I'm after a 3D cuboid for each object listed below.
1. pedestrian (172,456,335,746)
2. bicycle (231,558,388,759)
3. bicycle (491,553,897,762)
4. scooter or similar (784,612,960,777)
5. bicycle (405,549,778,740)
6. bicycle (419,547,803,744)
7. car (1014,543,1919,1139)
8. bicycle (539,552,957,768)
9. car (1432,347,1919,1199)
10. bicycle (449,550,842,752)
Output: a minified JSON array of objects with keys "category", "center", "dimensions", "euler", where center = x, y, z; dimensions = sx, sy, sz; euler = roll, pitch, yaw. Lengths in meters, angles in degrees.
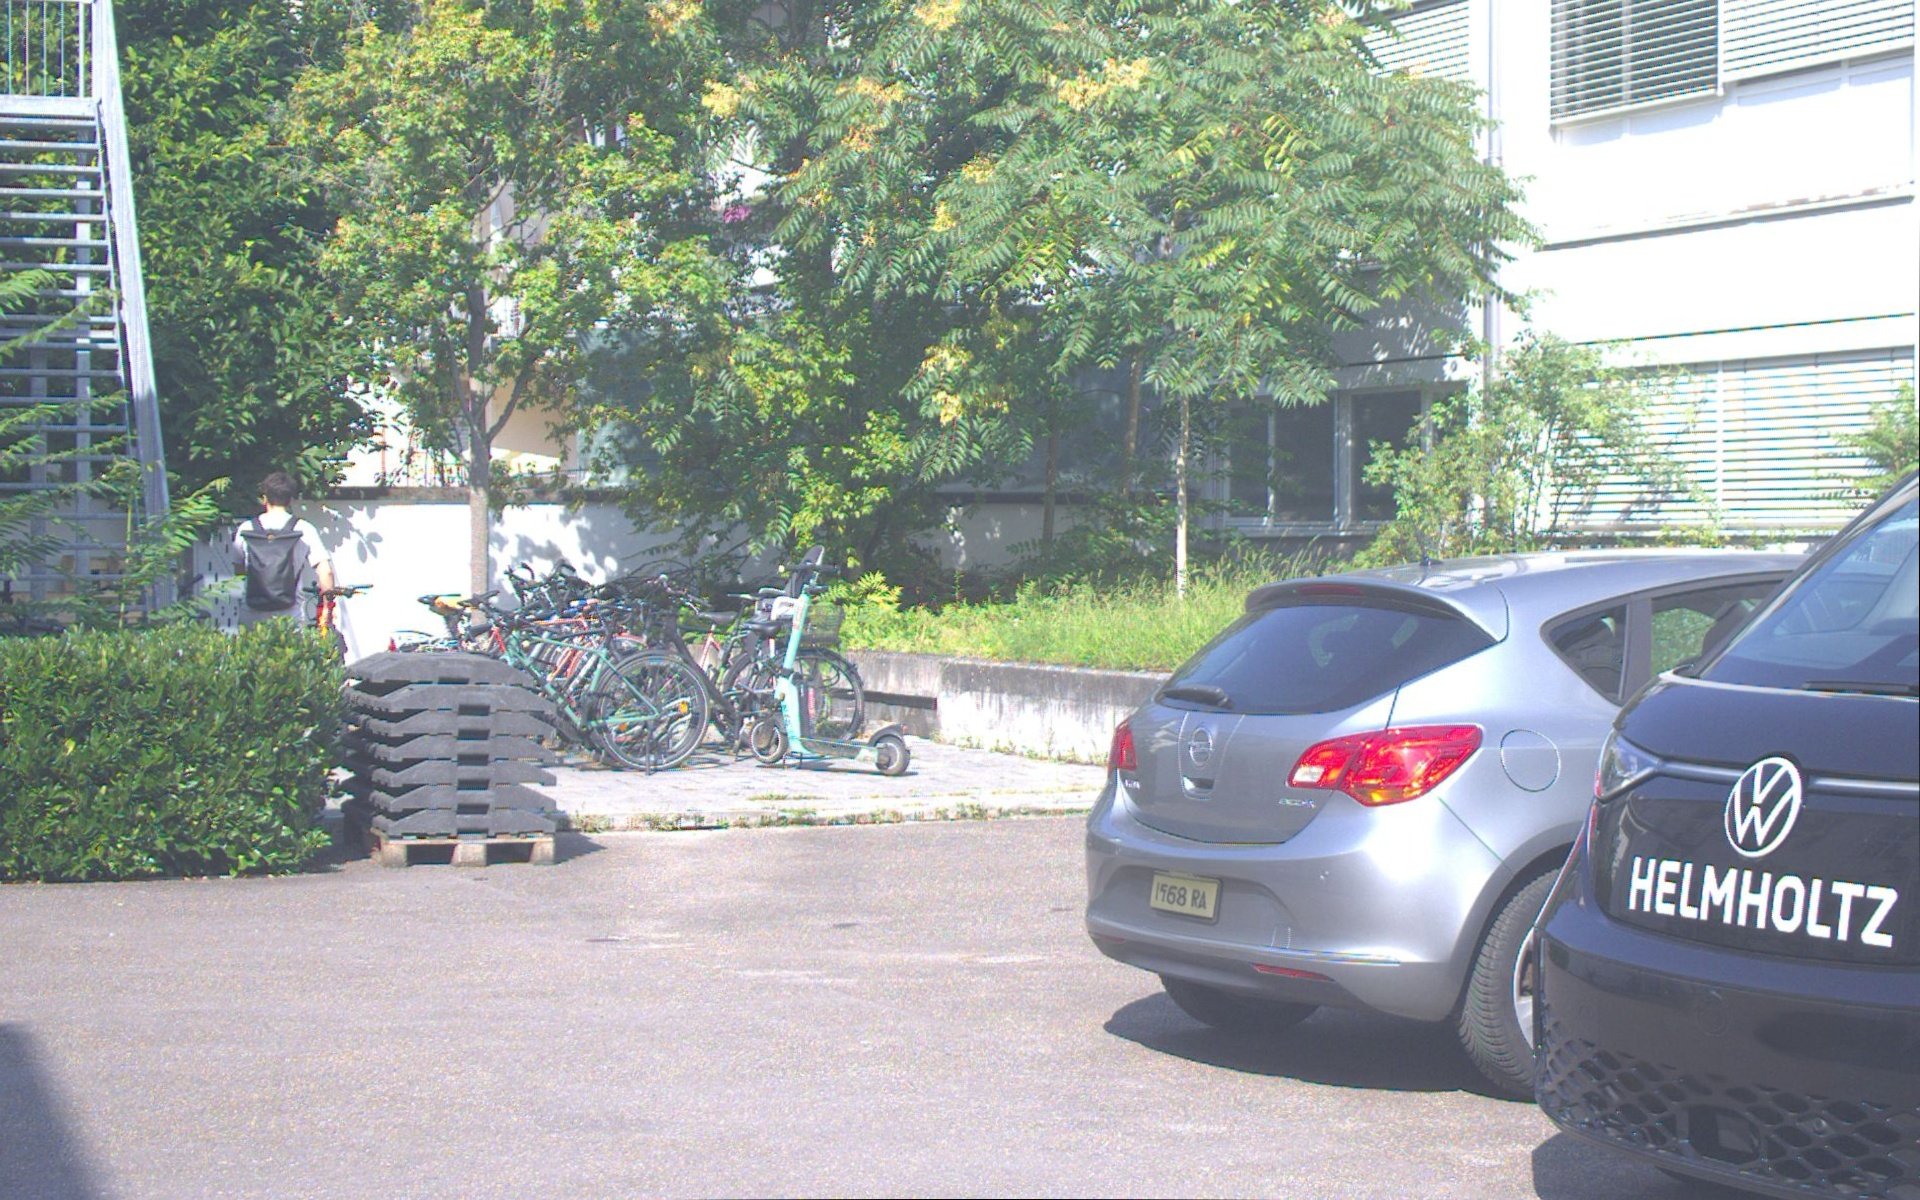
[{"category":"pedestrian","center":[-4.392,0.005,21.368],"dimensions":[0.858,1.765,0.611],"euler":[1,1,-24]},{"category":"bicycle","center":[-4.047,0.334,21.288],"dimensions":[0.488,1.140,1.994],"euler":[-1,2,-24]},{"category":"bicycle","center":[-1.623,0.352,21.068],"dimensions":[2.410,1.242,0.526],"euler":[1,1,-18]},{"category":"scooter or similar","center":[-0.523,0.544,20.219],"dimensions":[0.998,0.921,0.359],"euler":[2,1,34]},{"category":"bicycle","center":[-2.460,0.302,23.034],"dimensions":[2.410,1.242,0.526],"euler":[1,1,-18]},{"category":"bicycle","center":[-2.261,0.296,22.346],"dimensions":[2.410,1.242,0.526],"euler":[1,1,-18]},{"category":"car","center":[2.252,0.579,10.368],"dimensions":[3.896,1.461,1.663],"euler":[-1,2,-32]},{"category":"bicycle","center":[-1.255,0.358,20.474],"dimensions":[2.410,1.242,0.526],"euler":[1,1,-18]},{"category":"car","center":[3.405,0.425,7.737],"dimensions":[4.334,1.852,1.915],"euler":[-1,2,-28]},{"category":"bicycle","center":[-1.992,0.323,21.829],"dimensions":[2.410,1.242,0.526],"euler":[1,1,-18]}]
